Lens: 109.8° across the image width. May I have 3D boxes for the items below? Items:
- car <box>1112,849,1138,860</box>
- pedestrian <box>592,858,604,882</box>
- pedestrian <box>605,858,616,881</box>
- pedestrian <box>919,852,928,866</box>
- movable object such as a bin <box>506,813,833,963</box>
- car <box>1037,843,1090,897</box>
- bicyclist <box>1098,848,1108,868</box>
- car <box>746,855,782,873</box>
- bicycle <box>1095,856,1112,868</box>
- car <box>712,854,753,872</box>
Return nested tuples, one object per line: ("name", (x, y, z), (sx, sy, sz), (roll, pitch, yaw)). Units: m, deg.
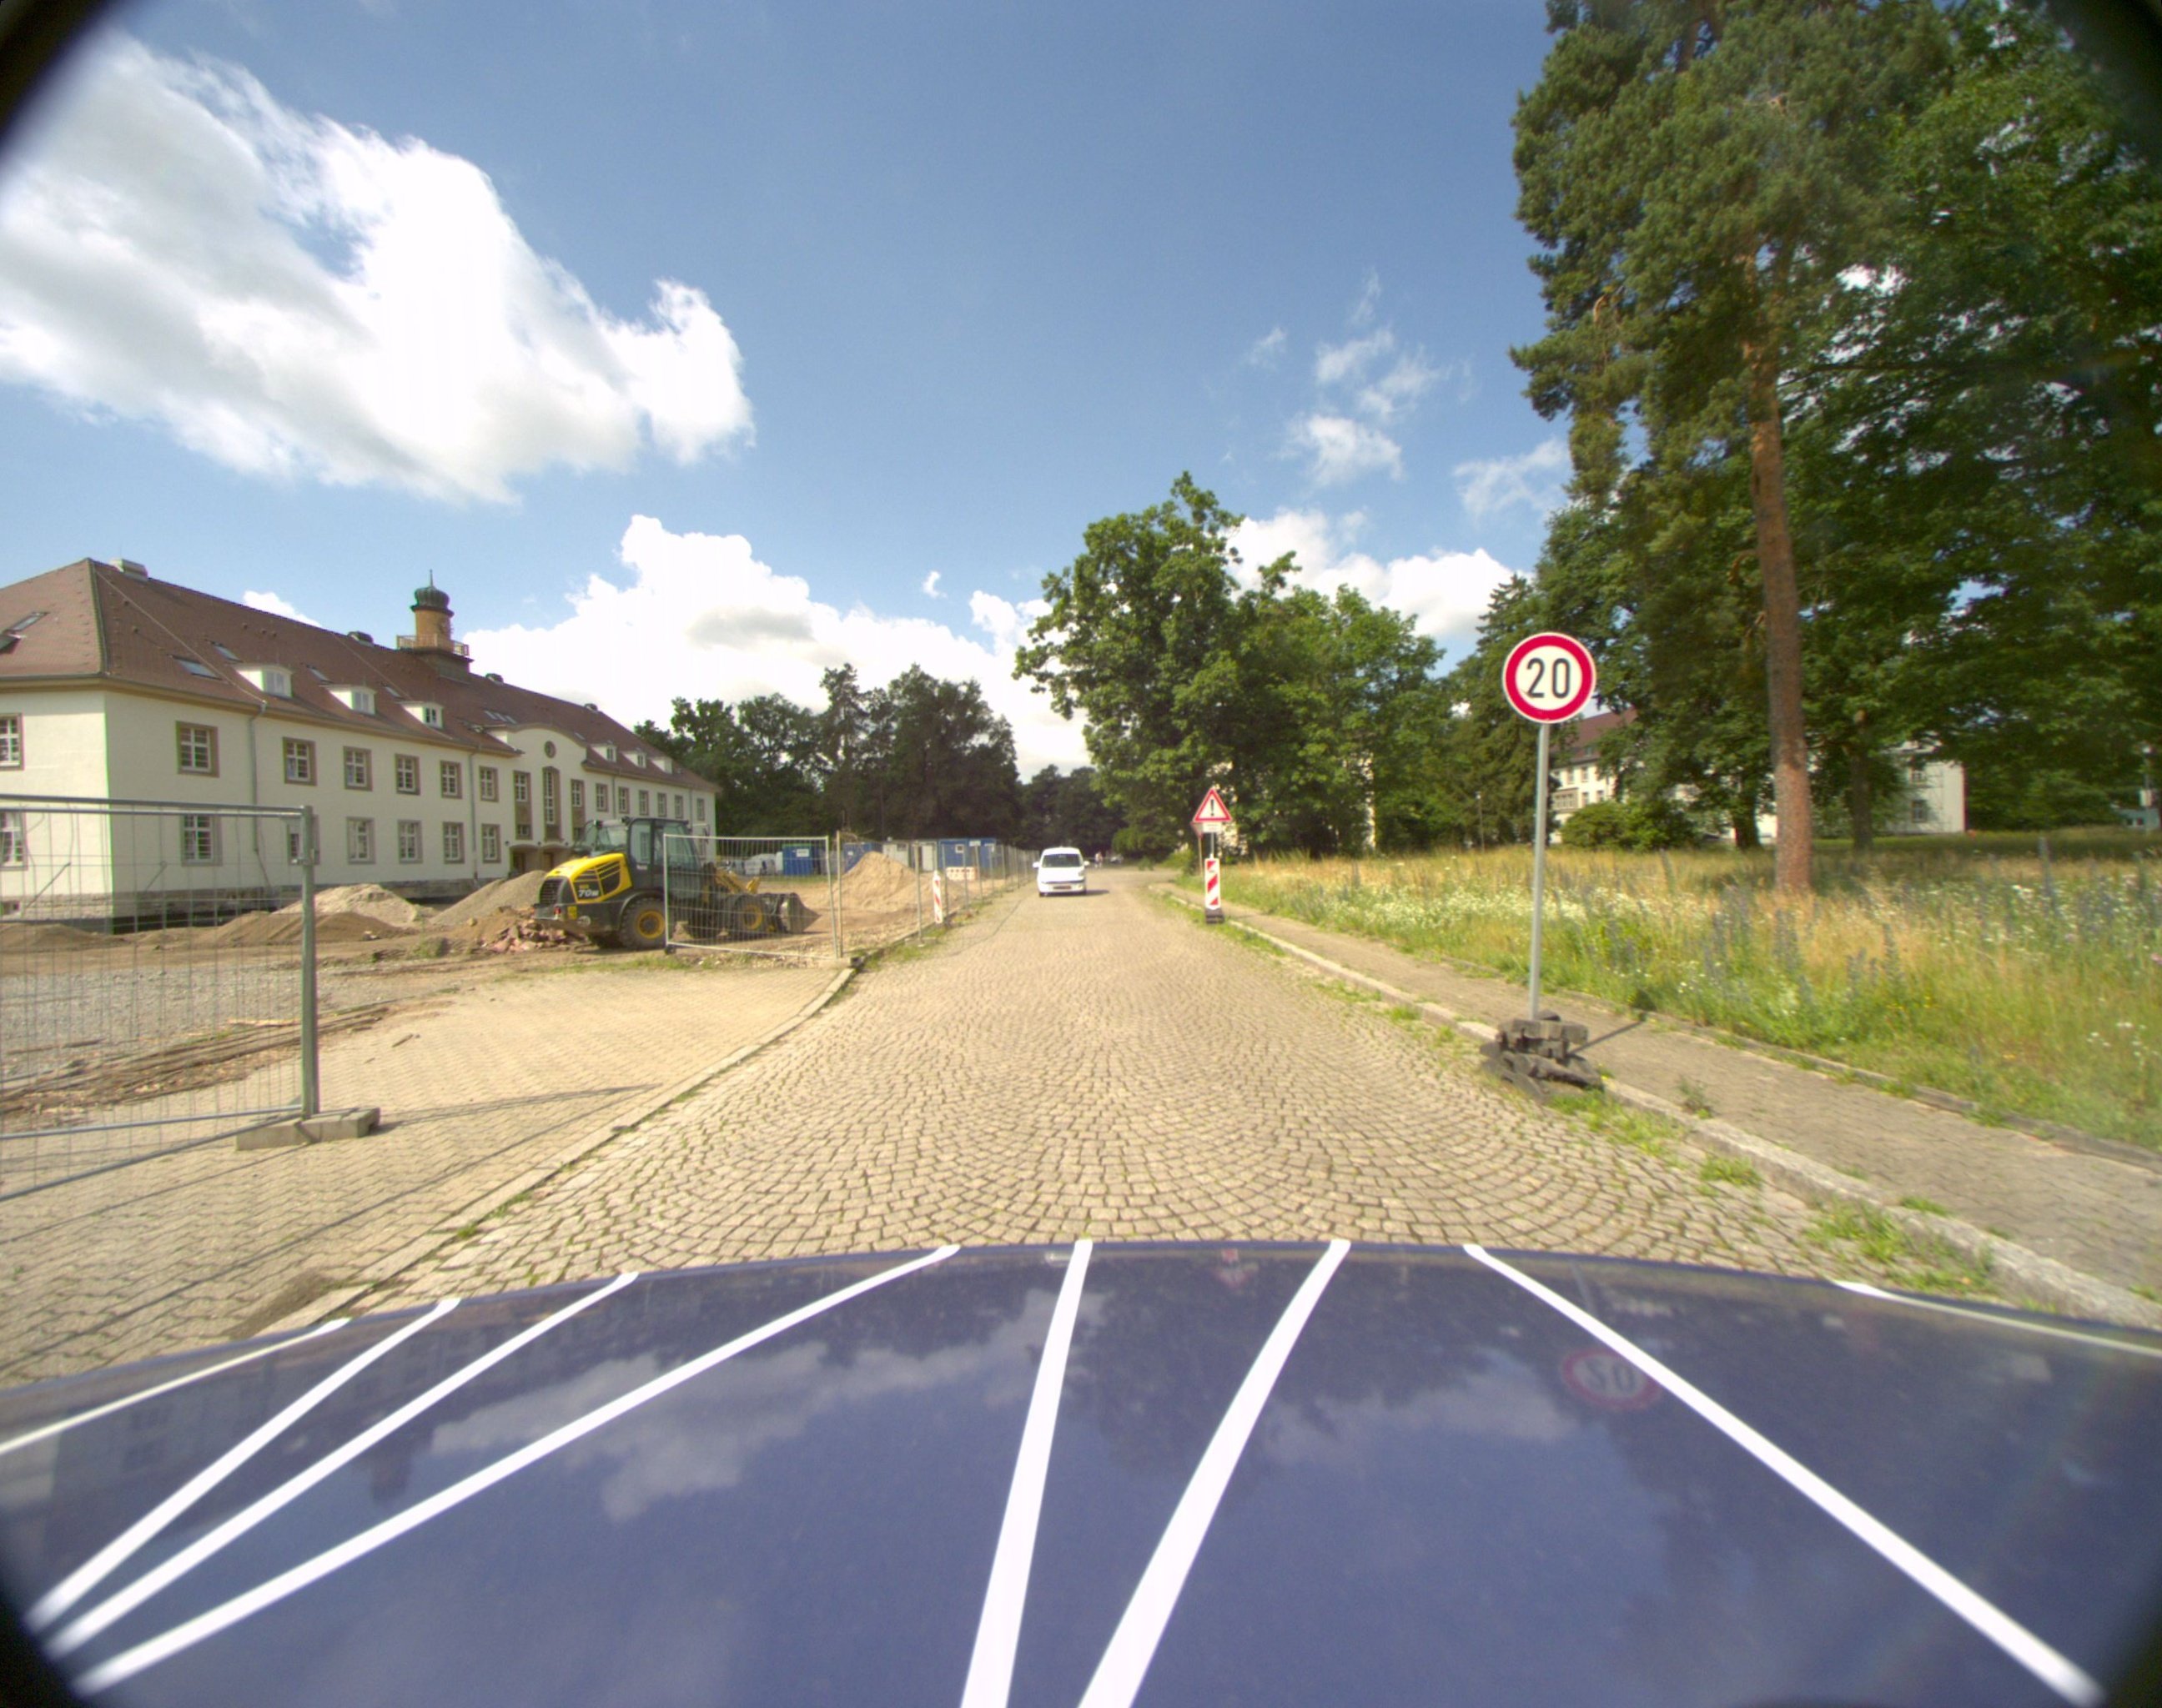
("car", (7.201, 0.058, 125.422), (4.084, 1.634, 1.767), (-1, 1, -1))
("pedestrian", (-36.772, 1.210, 57.816), (0.490, 1.777, 0.507), (-2, 1, 22))
("pedestrian", (-36.676, 1.193, 59.273), (0.491, 1.777, 0.506), (-2, 1, -3))
("pedestrian", (-13.799, 0.446, 66.567), (0.602, 1.236, 0.682), (-2, 1, -2))
("movable object such as a bin", (-8.108, 0.582, 15.757), (2.144, 2.507, 5.667), (-1, 0, 28))
("car", (-0.738, 0.611, 29.700), (1.839, 1.857, 4.830), (-2, -1, -3))
("bicyclist", (2.007, 0.346, 69.504), (0.636, 1.760, 0.569), (-3, 1, -41))
("car", (-32.231, 0.959, 77.368), (1.802, 1.674, 4.039), (-1, 1, 1))
("bicycle", (2.022, 0.743, 69.504), (0.636, 0.990, 1.553), (-3, 1, -41))
("car", (-35.404, 0.911, 77.286), (1.884, 1.718, 4.707), (-1, 1, 1))
